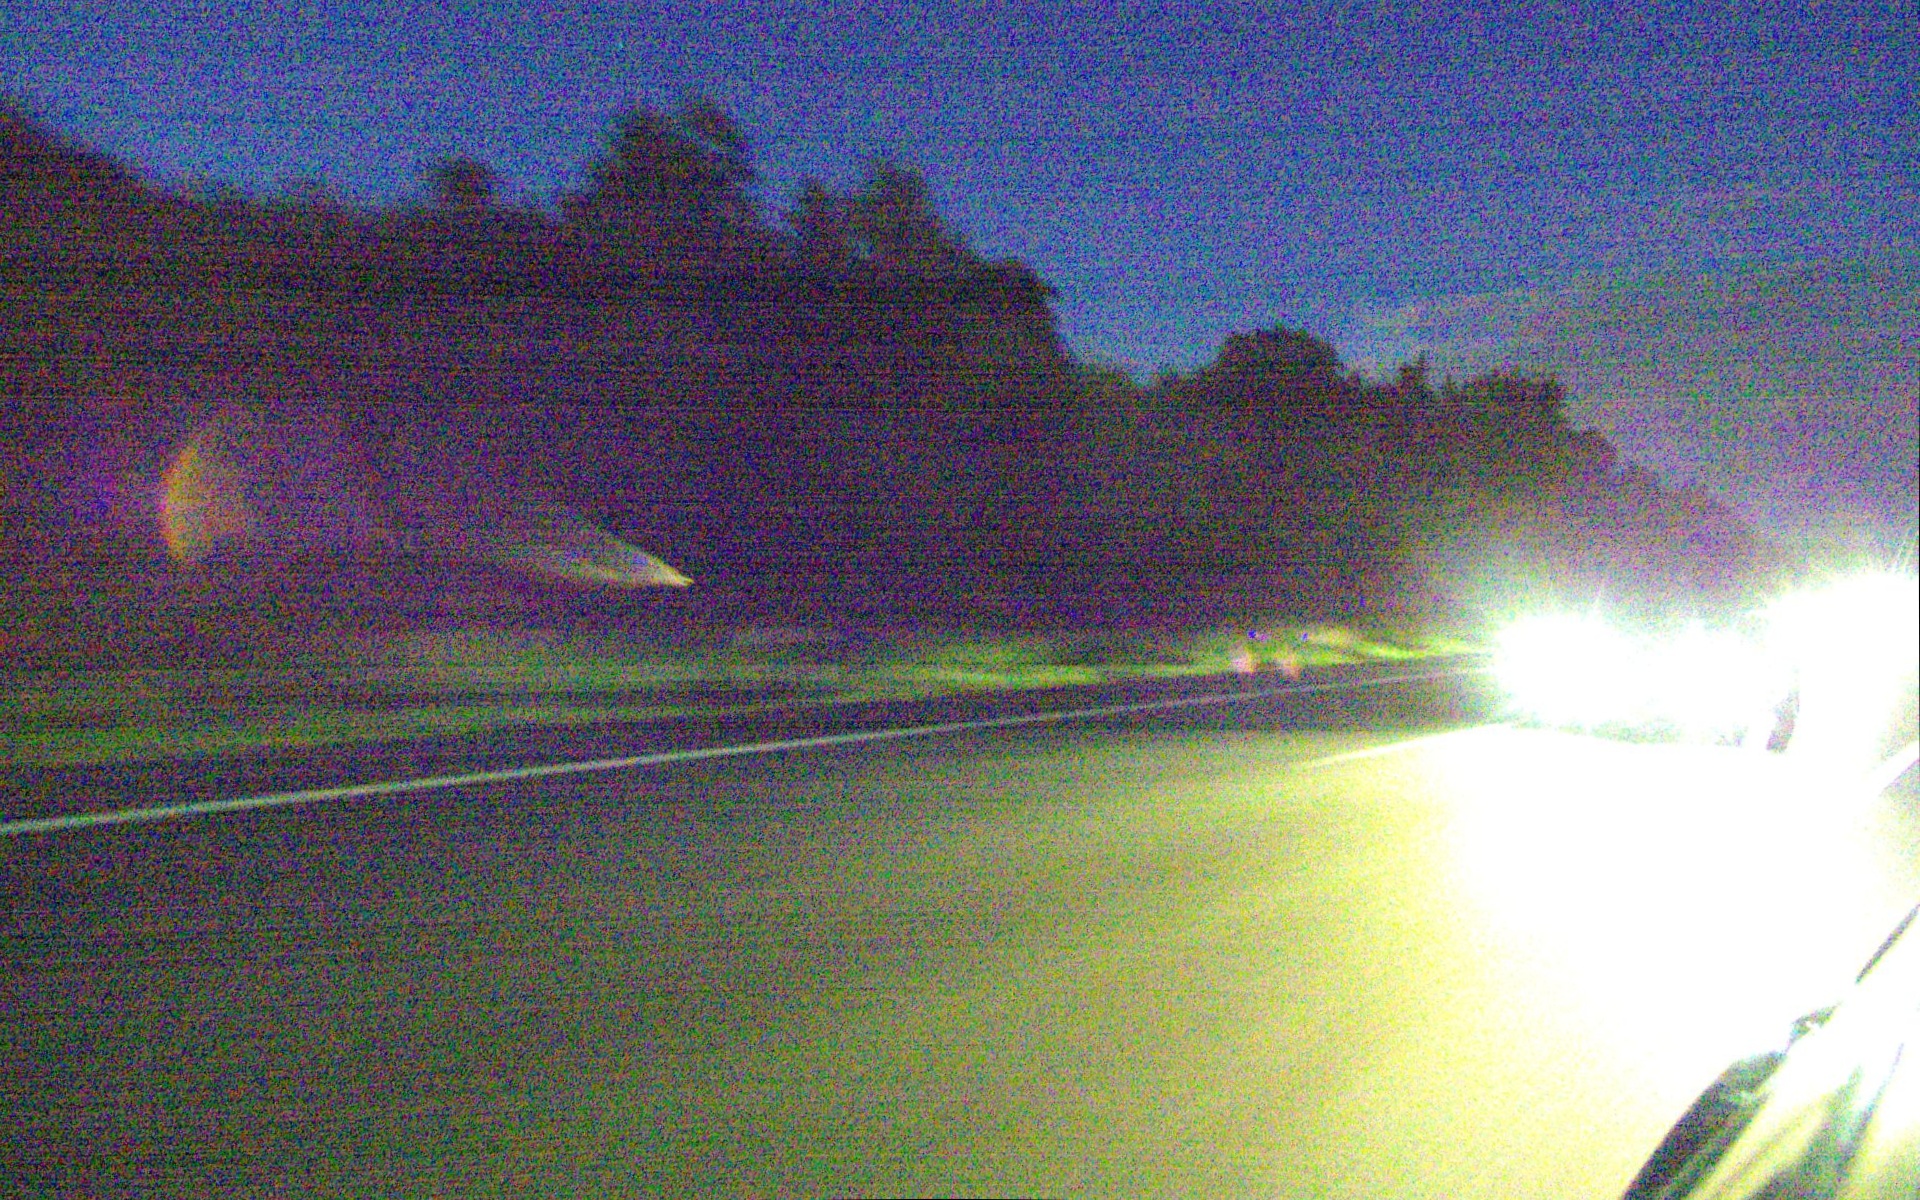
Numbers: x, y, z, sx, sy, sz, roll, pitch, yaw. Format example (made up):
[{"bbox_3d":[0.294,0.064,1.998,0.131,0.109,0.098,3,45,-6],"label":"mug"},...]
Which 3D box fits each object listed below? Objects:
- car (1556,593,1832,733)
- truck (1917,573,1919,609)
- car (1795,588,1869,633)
[{"bbox_3d":[9.334,0.645,12.683,4.982,1.419,1.837,0,0,-42],"label":"car"},{"bbox_3d":[123.127,-1.144,127.534,3.335,4.490,6.889,-1,0,41],"label":"truck"},{"bbox_3d":[36.022,0.410,41.760,1.994,1.739,5.084,0,0,44],"label":"car"}]
